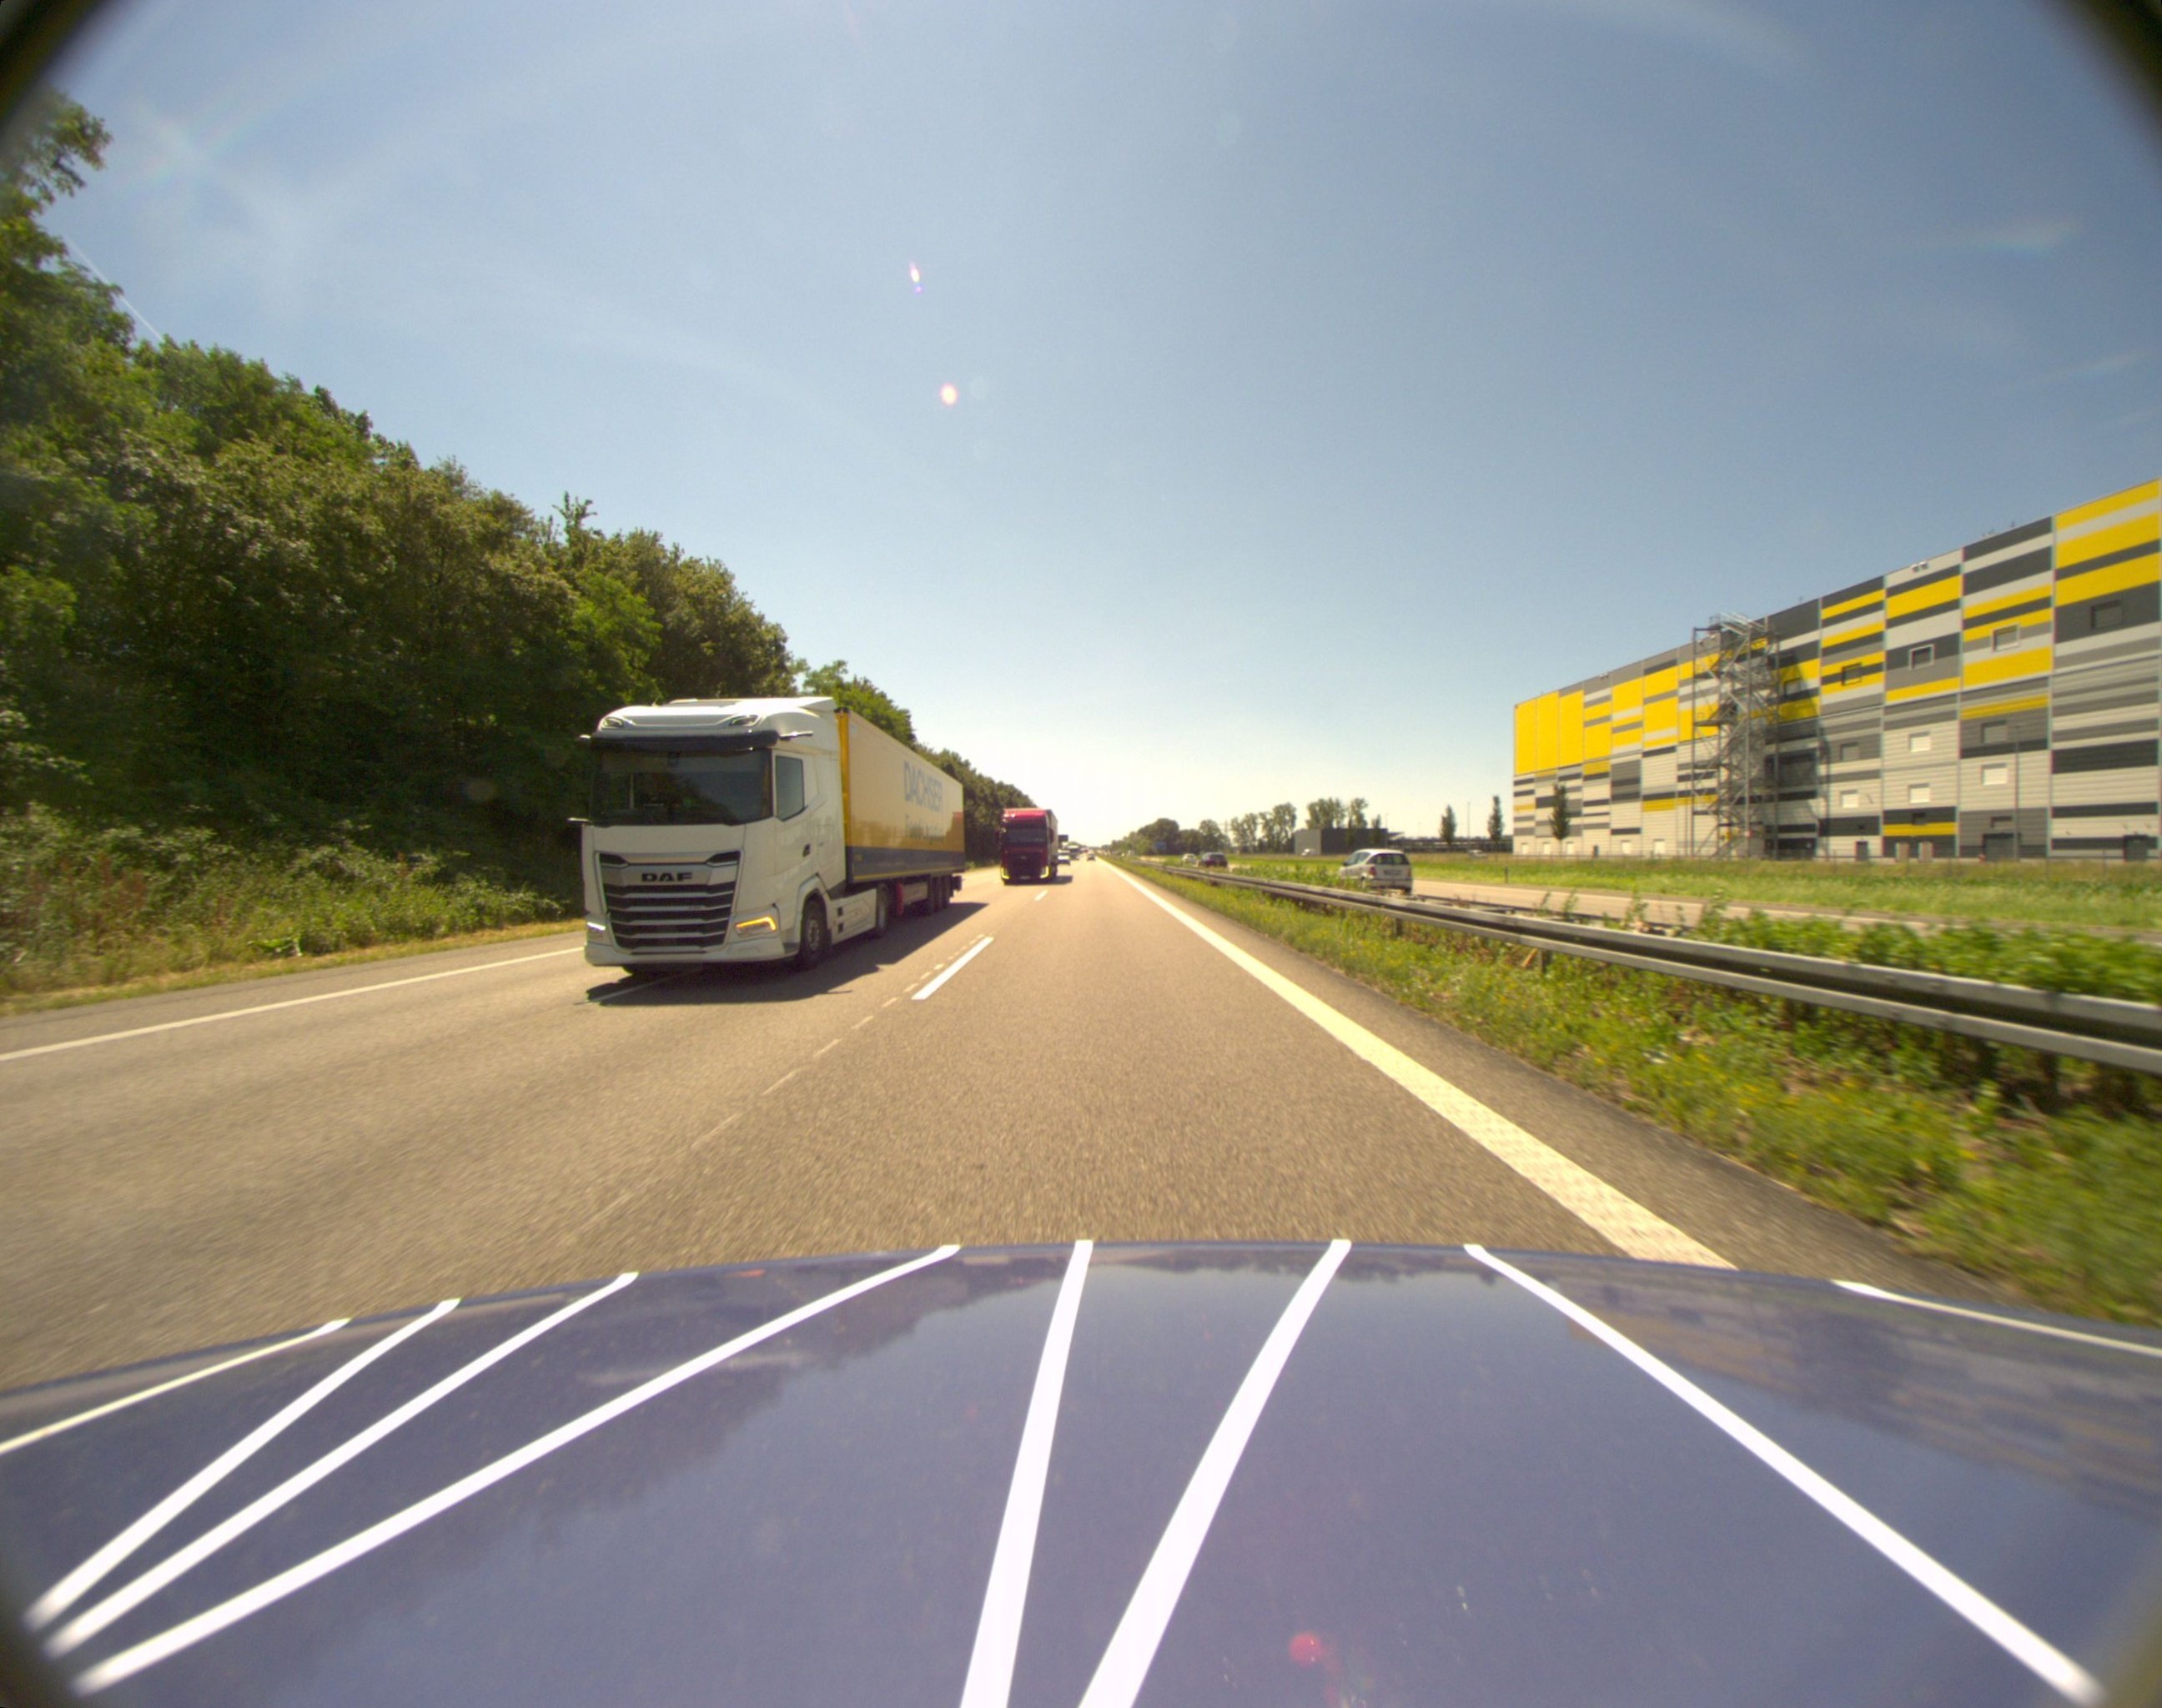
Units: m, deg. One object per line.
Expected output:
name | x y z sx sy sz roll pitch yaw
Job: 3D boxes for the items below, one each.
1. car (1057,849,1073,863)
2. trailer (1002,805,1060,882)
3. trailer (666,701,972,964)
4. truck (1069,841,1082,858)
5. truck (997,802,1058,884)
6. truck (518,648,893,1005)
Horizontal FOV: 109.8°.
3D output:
car | -2.177 0.291 103.072 2.073 1.823 5.109 0 0 -1
trailer | -2.914 -0.609 48.171 2.885 4.046 13.832 -2 0 -1
trailer | -5.095 -0.373 18.862 2.684 4.046 13.833 -2 0 0
truck | -1.310 -1.029 183.291 2.998 4.046 5.770 -2 1 0
truck | -2.792 -0.570 41.340 2.870 4.046 5.770 -2 1 -1
truck | -5.076 -0.331 11.805 2.684 4.046 6.048 -2 1 0
